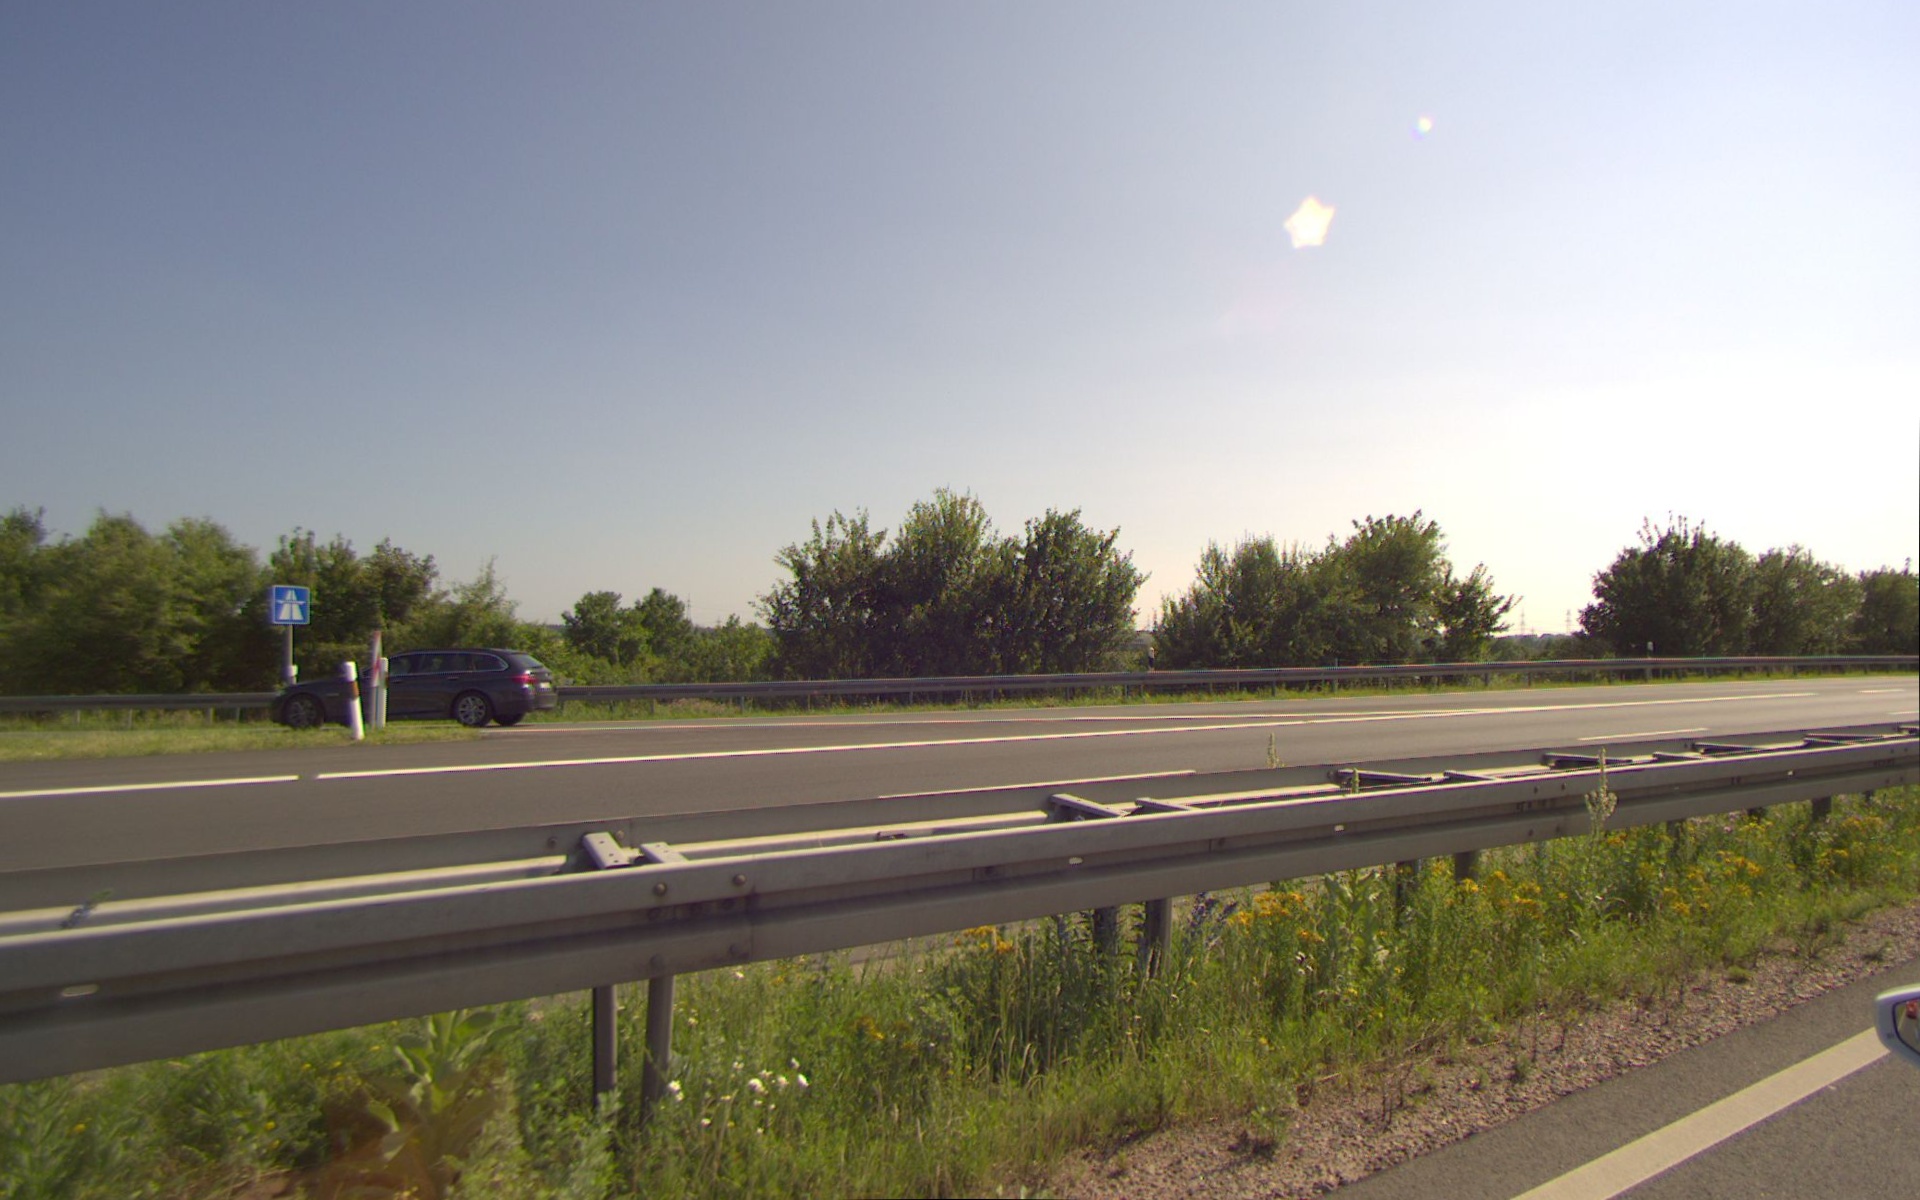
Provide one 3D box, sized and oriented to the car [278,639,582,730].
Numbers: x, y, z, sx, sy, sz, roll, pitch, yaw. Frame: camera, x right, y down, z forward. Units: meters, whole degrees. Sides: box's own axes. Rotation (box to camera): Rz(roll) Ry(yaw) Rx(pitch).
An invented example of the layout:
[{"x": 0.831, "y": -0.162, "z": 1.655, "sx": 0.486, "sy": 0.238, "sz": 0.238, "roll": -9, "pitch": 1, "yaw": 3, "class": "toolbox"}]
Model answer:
[{"x": -9.719, "y": 1.568, "z": 18.749, "sx": 4.724, "sy": 1.513, "sz": 1.597, "roll": -1, "pitch": -5, "yaw": -7, "class": "car"}]
